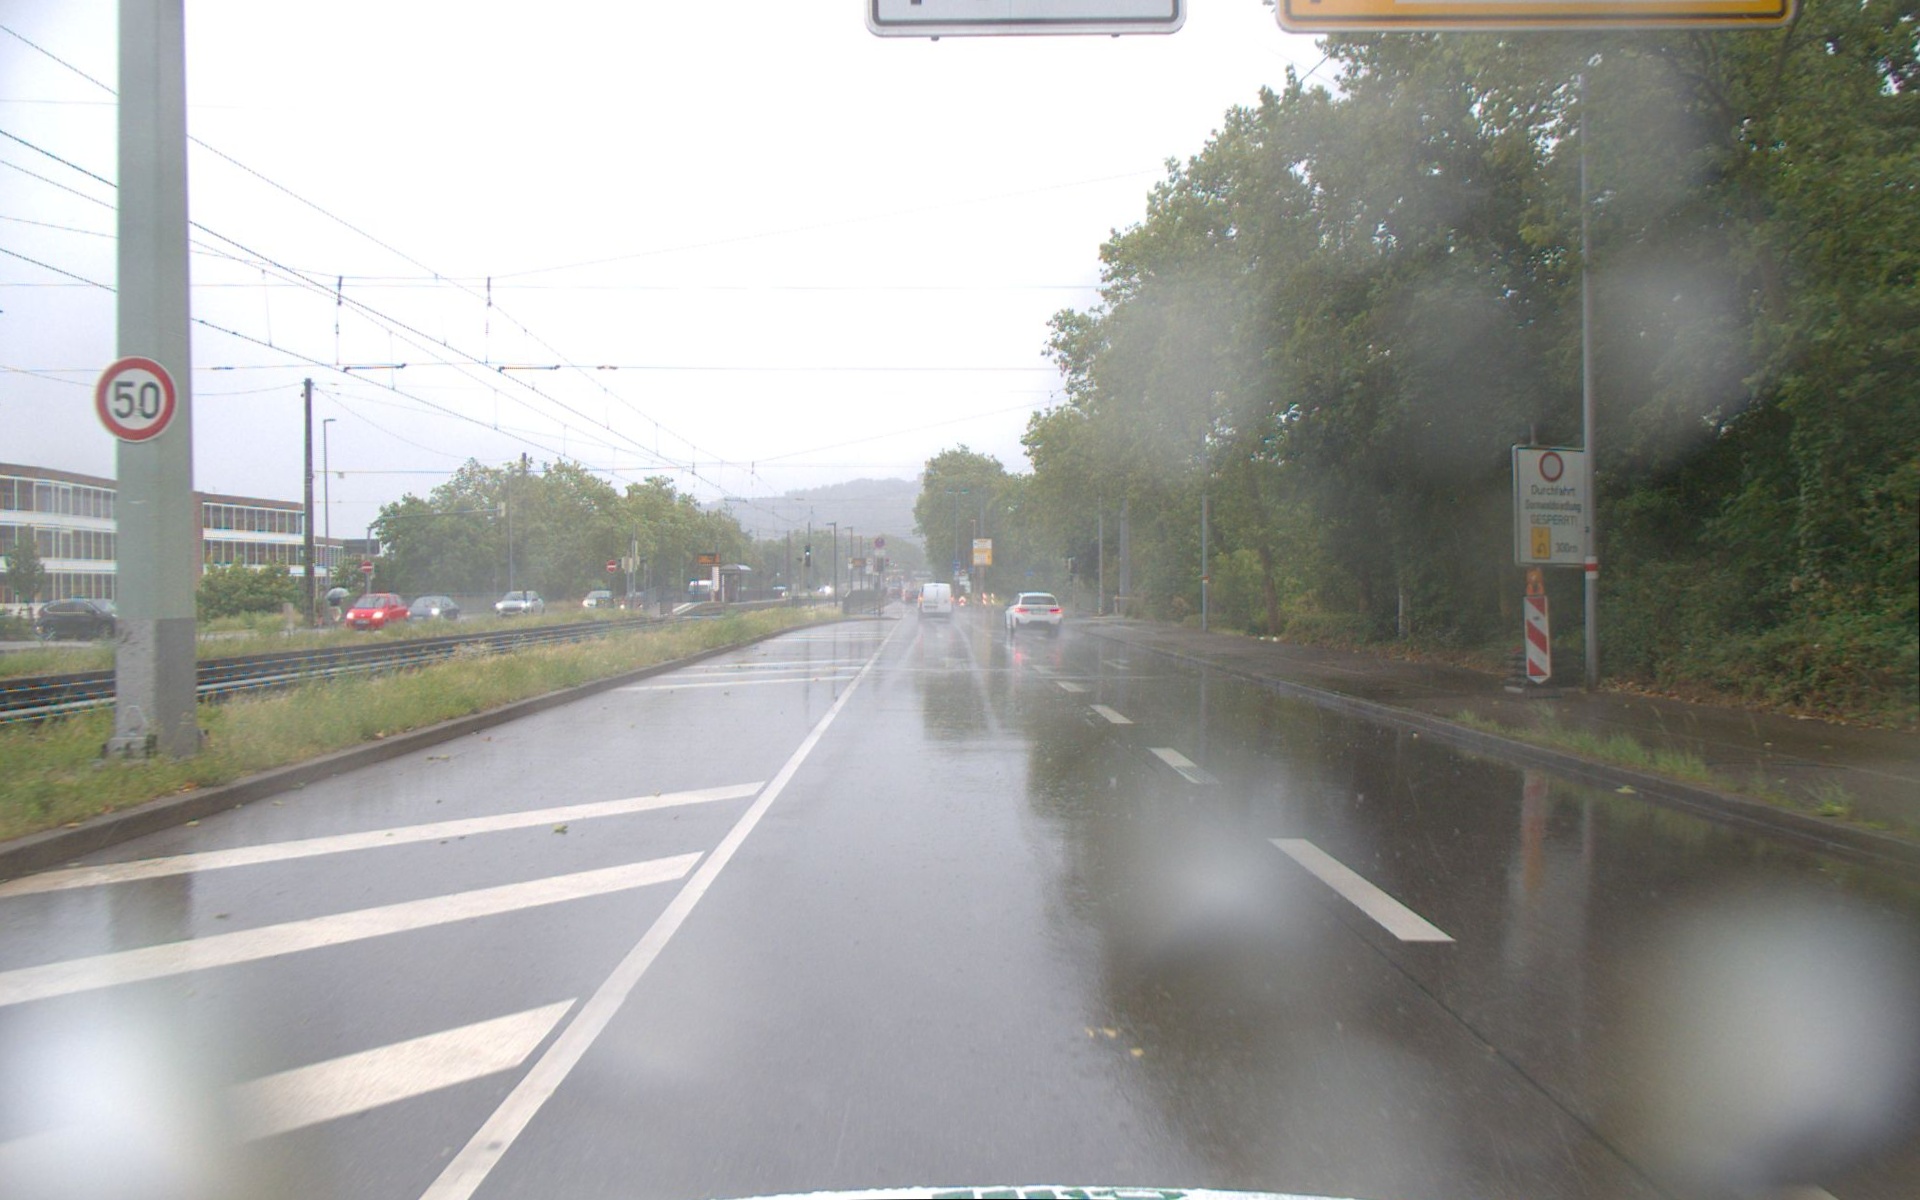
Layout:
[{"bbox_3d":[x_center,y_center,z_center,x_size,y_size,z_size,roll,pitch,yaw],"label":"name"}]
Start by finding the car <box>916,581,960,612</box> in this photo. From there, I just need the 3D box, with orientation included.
[{"bbox_3d":[-1.067,-0.175,79.271,2.035,1.445,3.999,-1,0,-1],"label":"car"}]

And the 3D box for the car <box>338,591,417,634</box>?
[{"bbox_3d":[-22.089,0.452,62.844,1.685,1.520,3.999,-1,0,-2],"label":"car"}]

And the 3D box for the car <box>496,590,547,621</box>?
[{"bbox_3d":[-22.645,0.250,85.524,1.685,1.520,3.999,-1,0,-2],"label":"car"}]

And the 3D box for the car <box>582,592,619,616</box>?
[{"bbox_3d":[-23.525,0.264,108.388,1.685,1.520,3.999,0,1,-2],"label":"car"}]

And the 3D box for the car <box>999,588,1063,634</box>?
[{"bbox_3d":[2.442,0.356,57.778,1.909,1.563,4.465,0,0,-2],"label":"car"}]

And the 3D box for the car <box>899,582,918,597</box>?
[{"bbox_3d":[-5.457,-1.099,176.649,1.953,1.574,3.999,1,1,-2],"label":"car"}]

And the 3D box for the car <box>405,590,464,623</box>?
[{"bbox_3d":[-25.655,0.296,80.926,1.685,1.520,3.999,-1,0,-2],"label":"car"}]

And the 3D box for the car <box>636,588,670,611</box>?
[{"bbox_3d":[-20.901,-0.026,112.647,1.685,1.520,3.999,-1,0,-2],"label":"car"}]
